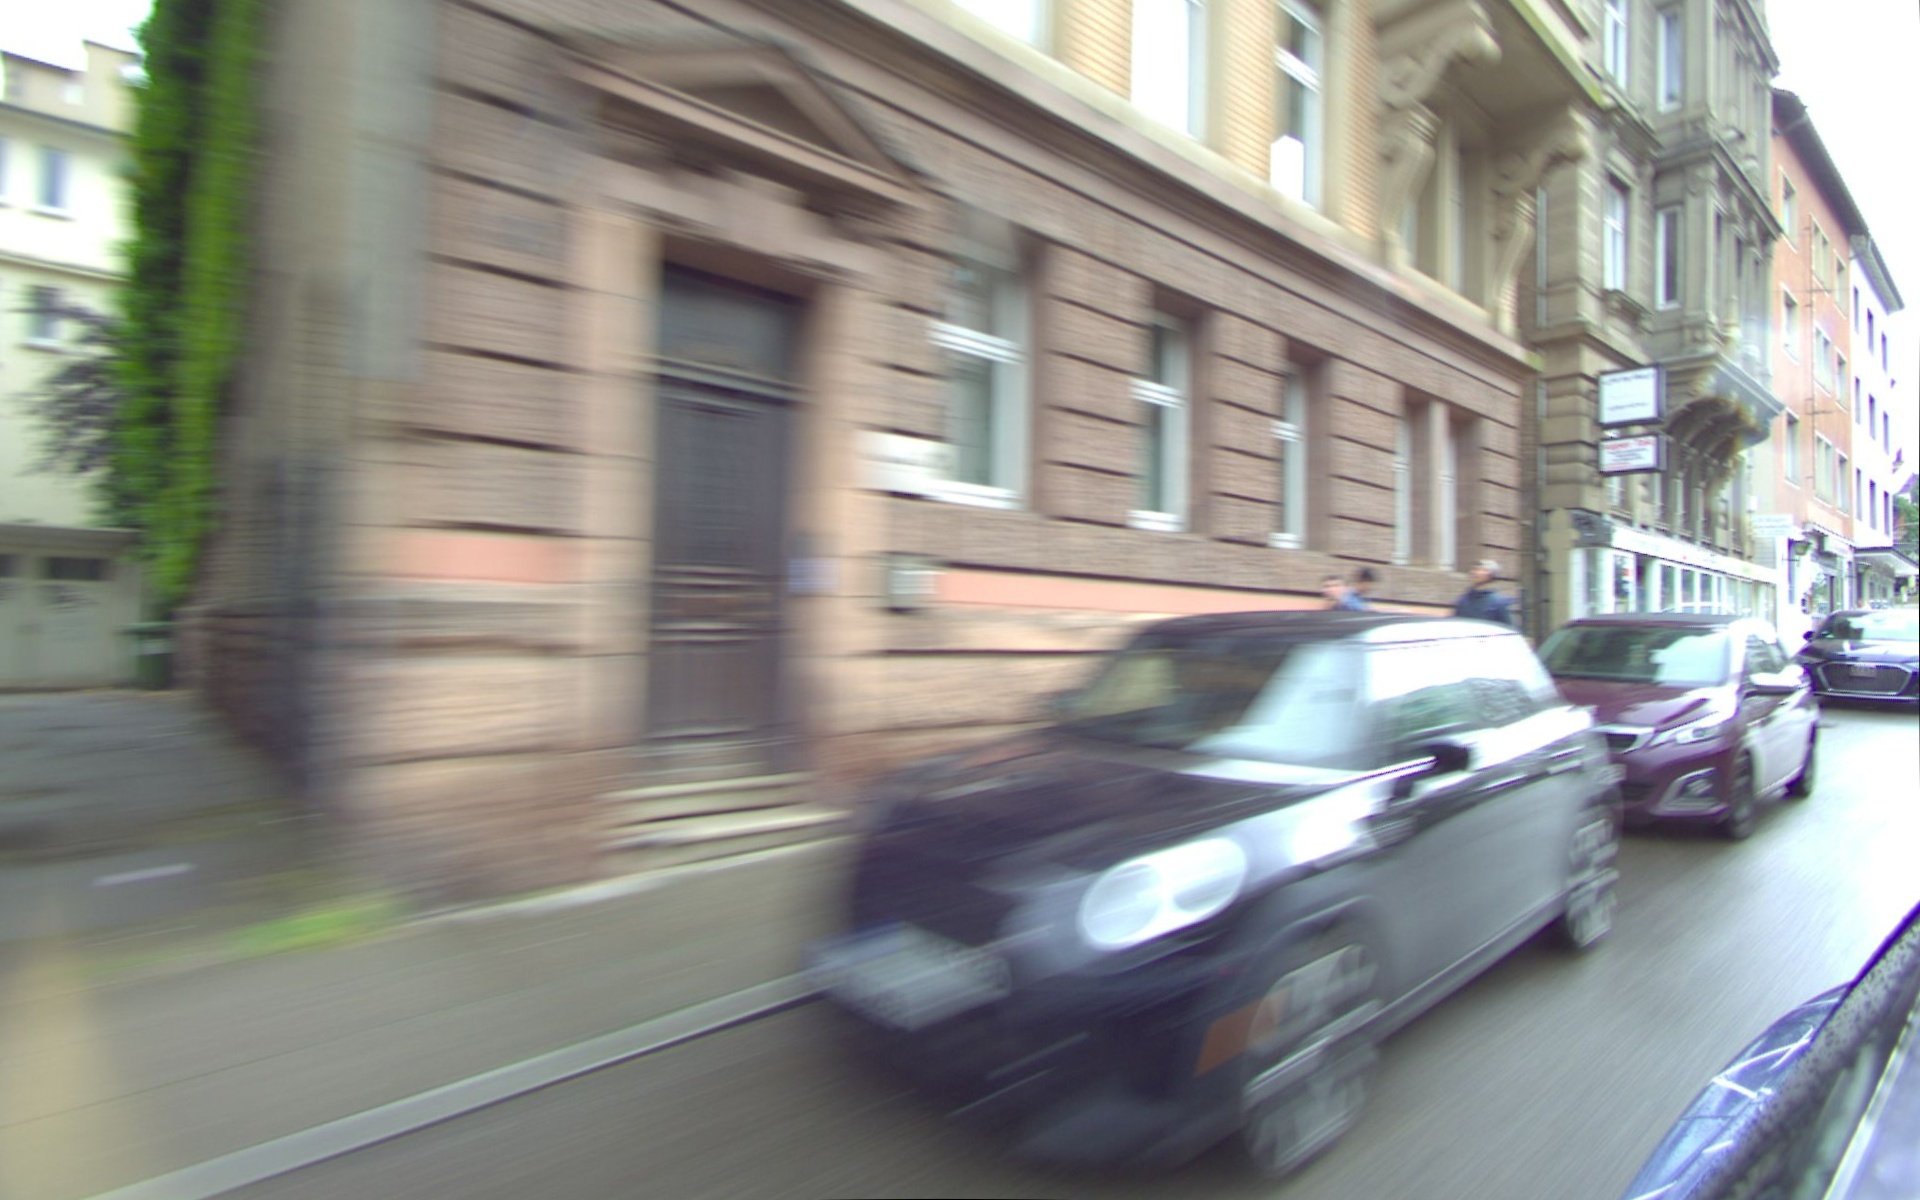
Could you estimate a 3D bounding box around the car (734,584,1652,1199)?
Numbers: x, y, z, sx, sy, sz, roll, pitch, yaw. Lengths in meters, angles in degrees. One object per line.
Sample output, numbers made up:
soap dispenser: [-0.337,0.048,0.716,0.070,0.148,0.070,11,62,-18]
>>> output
car: [1.197,0.696,3.868,3.756,1.478,1.579,-1,0,-43]

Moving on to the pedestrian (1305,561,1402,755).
pedestrian: [3.398,0.465,8.745,0.666,1.598,0.520,-2,3,-41]

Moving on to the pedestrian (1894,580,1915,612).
pedestrian: [53.999,-0.229,57.859,0.745,1.785,0.807,3,2,38]

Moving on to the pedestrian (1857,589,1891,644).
pedestrian: [27.166,0.497,30.086,0.686,1.592,0.752,1,-1,38]

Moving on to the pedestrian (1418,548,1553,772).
pedestrian: [4.615,0.489,8.881,0.944,1.842,0.704,2,0,-41]

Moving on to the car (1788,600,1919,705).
car: [14.281,0.714,15.403,4.180,1.424,1.795,0,0,-39]

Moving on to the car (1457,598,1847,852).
car: [5.373,0.737,7.724,3.416,1.478,1.652,0,0,-41]

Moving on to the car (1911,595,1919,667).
car: [24.823,0.680,24.729,4.507,1.653,1.848,-2,0,-41]
